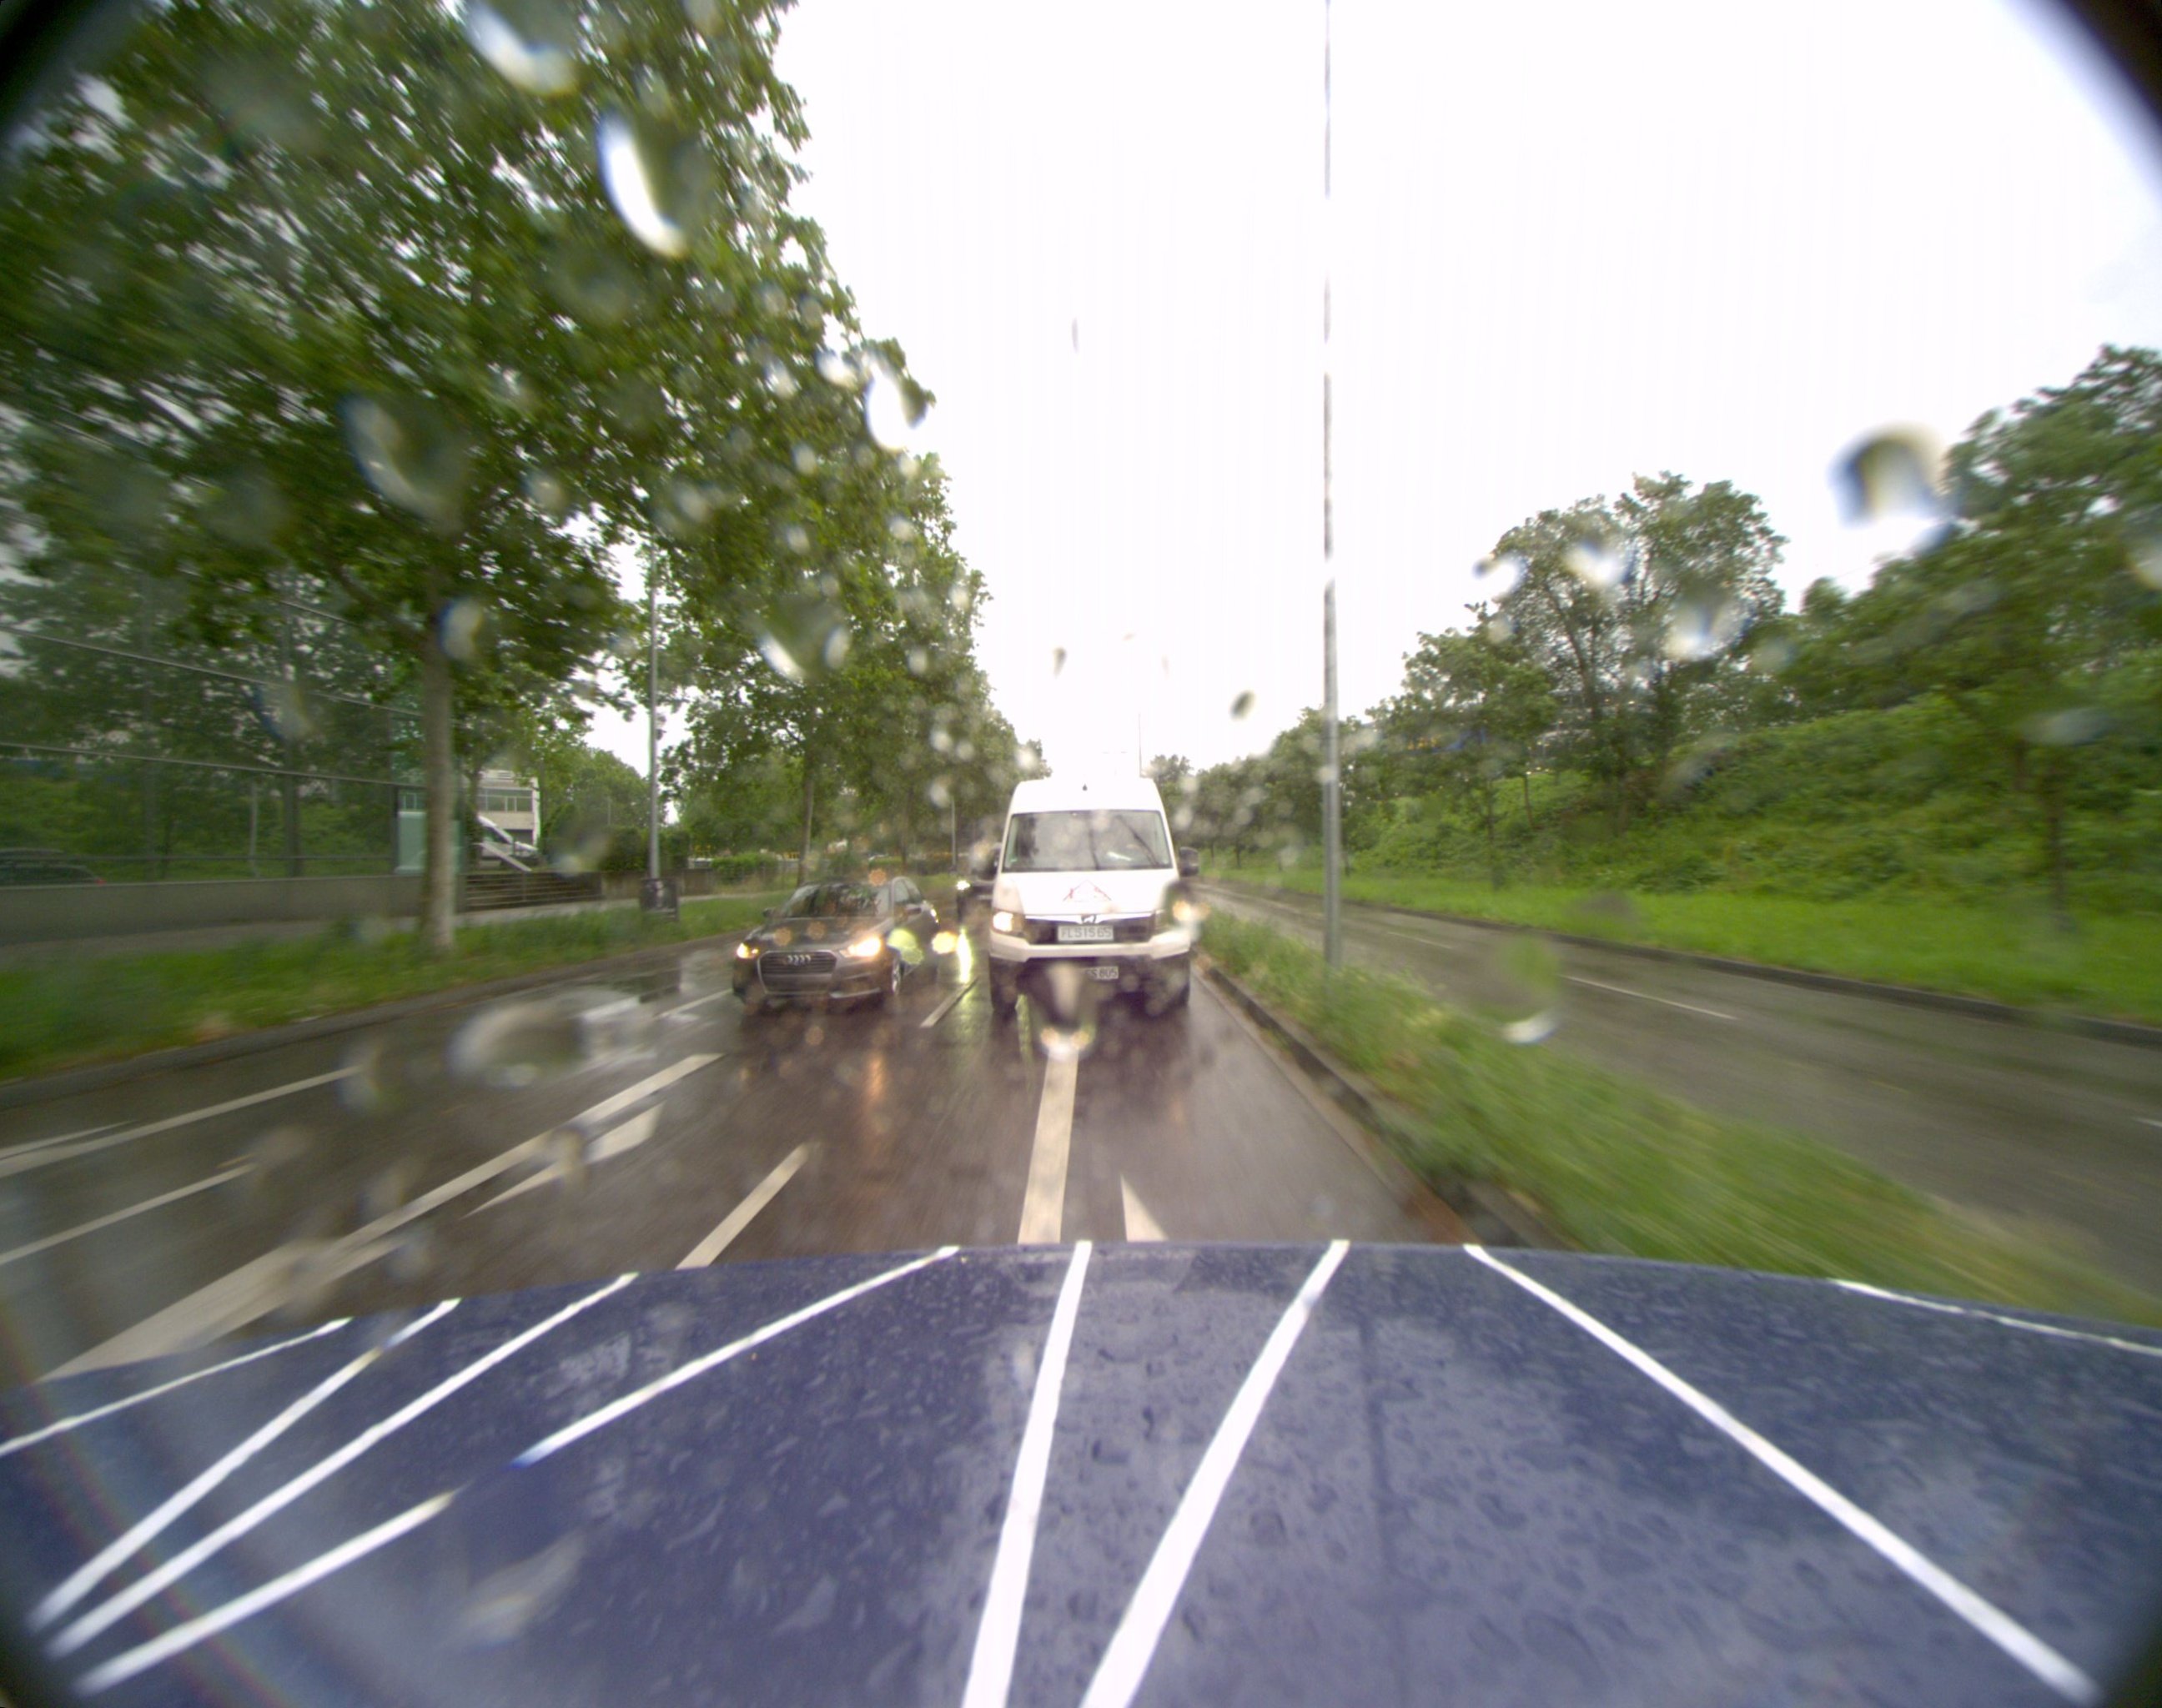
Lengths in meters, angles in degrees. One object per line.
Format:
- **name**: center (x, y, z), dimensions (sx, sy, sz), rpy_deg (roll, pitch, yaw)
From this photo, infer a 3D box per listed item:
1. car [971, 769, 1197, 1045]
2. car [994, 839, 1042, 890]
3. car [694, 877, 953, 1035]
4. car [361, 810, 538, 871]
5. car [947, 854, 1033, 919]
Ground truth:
- **car**: center (0.045, 0.456, 9.647), dimensions (1.969, 2.419, 5.961), rpy_deg (0, 0, 0)
- **car**: center (-3.133, 0.484, 38.935), dimensions (1.998, 2.416, 4.978), rpy_deg (0, 0, 1)
- **car**: center (-2.861, 1.065, 9.380), dimensions (1.841, 1.390, 3.753), rpy_deg (-2, 0, 1)
- **car**: center (-27.207, -0.614, 33.061), dimensions (5.706, 2.442, 1.995), rpy_deg (-2, 1, -36)
- **car**: center (-2.608, 0.878, 22.715), dimensions (1.998, 1.738, 4.327), rpy_deg (0, 0, 1)
